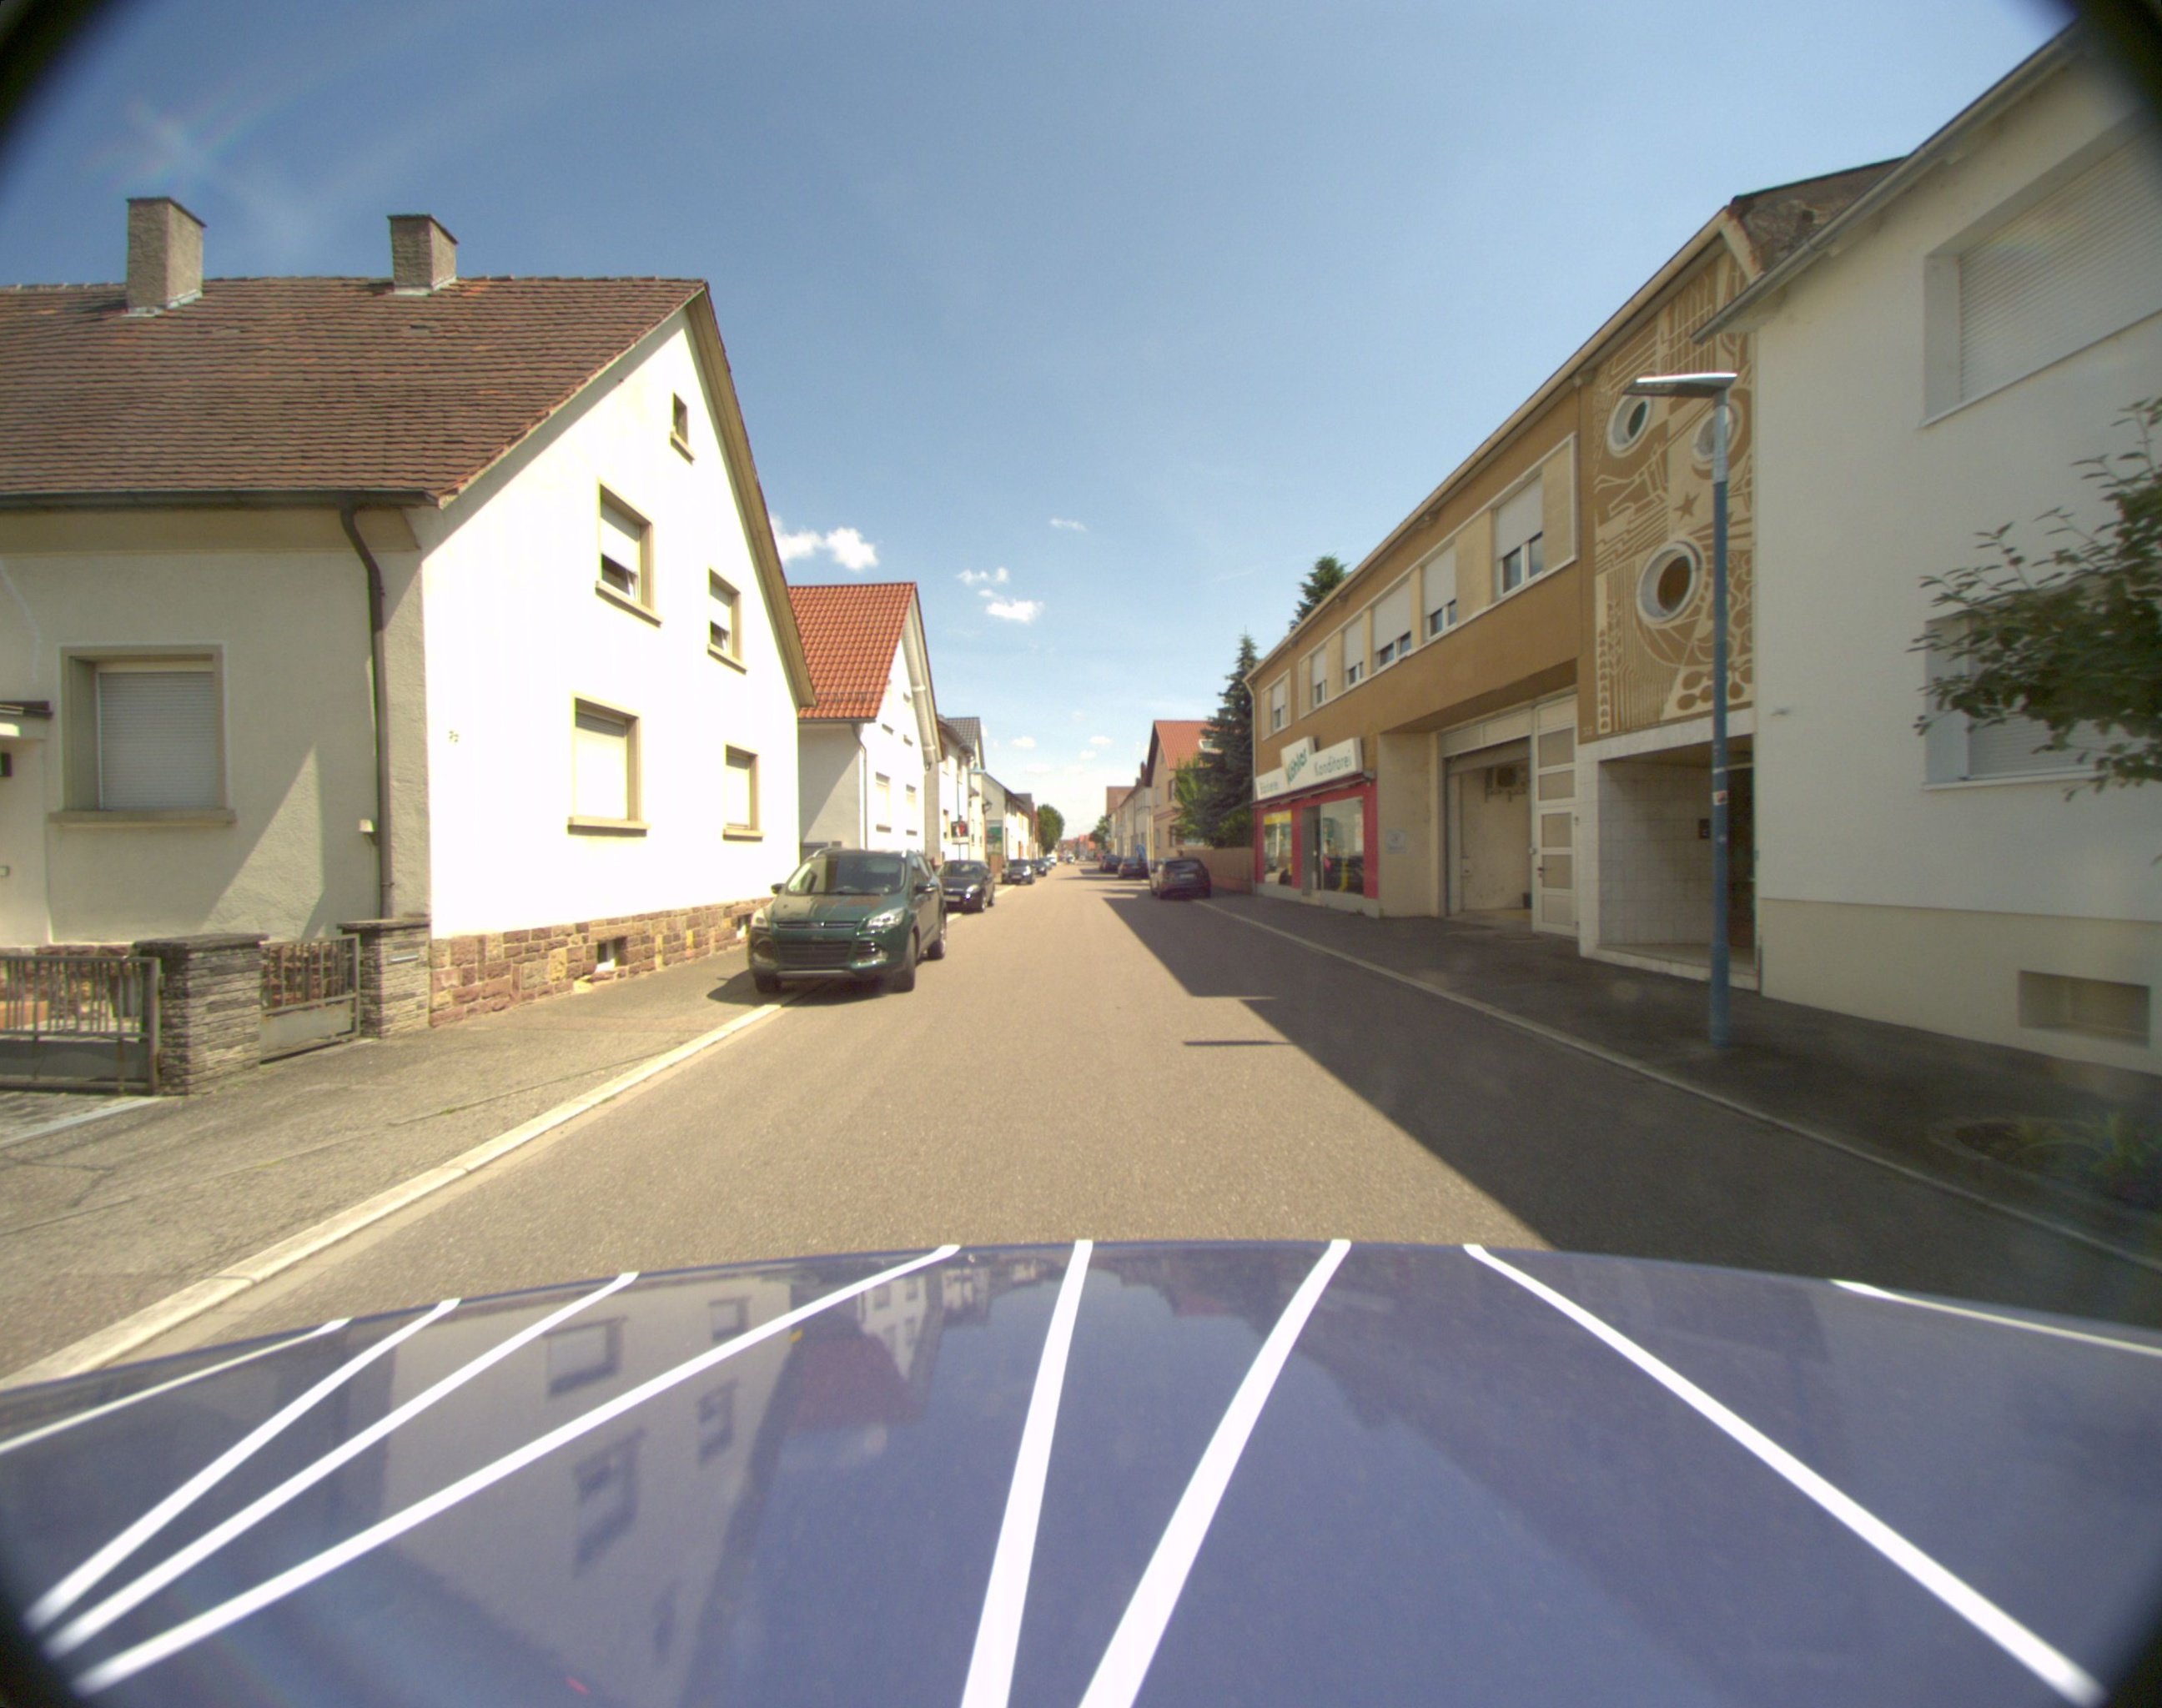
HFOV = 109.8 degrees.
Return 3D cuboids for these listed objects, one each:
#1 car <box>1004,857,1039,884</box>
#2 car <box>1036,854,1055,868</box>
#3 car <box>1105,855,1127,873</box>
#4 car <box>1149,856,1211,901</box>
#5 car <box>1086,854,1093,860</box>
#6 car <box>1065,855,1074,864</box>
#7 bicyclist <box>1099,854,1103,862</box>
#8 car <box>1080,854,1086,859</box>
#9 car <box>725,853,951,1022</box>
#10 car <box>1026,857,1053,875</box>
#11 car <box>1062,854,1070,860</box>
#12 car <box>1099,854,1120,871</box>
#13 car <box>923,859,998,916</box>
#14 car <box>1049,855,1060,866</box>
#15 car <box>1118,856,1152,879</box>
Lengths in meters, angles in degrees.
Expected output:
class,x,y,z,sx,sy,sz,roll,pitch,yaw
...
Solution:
class,x,y,z,sx,sy,sz,roll,pitch,yaw
car,-3.293,0.888,42.467,1.693,1.414,3.656,-1,0,-1
car,-4.048,0.820,87.557,1.725,1.473,3.750,2,0,3
car,3.029,0.856,66.535,1.702,1.403,4.389,-1,0,0
car,3.520,0.833,27.725,1.772,1.451,4.436,-1,0,1
car,2.178,0.717,202.328,1.727,1.385,4.170,-1,-2,1
car,-2.189,1.034,146.783,1.598,1.533,4.200,-3,1,2
bicyclist,3.958,0.850,151.148,0.748,1.627,0.956,-2,1,3
car,0.660,0.740,218.427,1.598,1.385,4.168,-2,0,-1
car,-2.863,0.856,9.990,1.733,1.707,4.274,-1,0,-3
car,-3.214,0.927,59.407,1.820,1.268,4.146,-1,0,0
car,-3.851,0.831,188.886,1.848,1.385,4.169,-1,-2,-3
car,2.736,0.807,72.987,1.722,1.630,4.148,1,0,-2
car,-3.517,0.938,22.788,1.621,1.487,3.971,2,0,-1
car,-4.283,1.028,124.297,1.692,1.831,4.764,1,0,0
car,3.415,0.829,48.530,1.766,1.366,4.066,-2,0,-1
